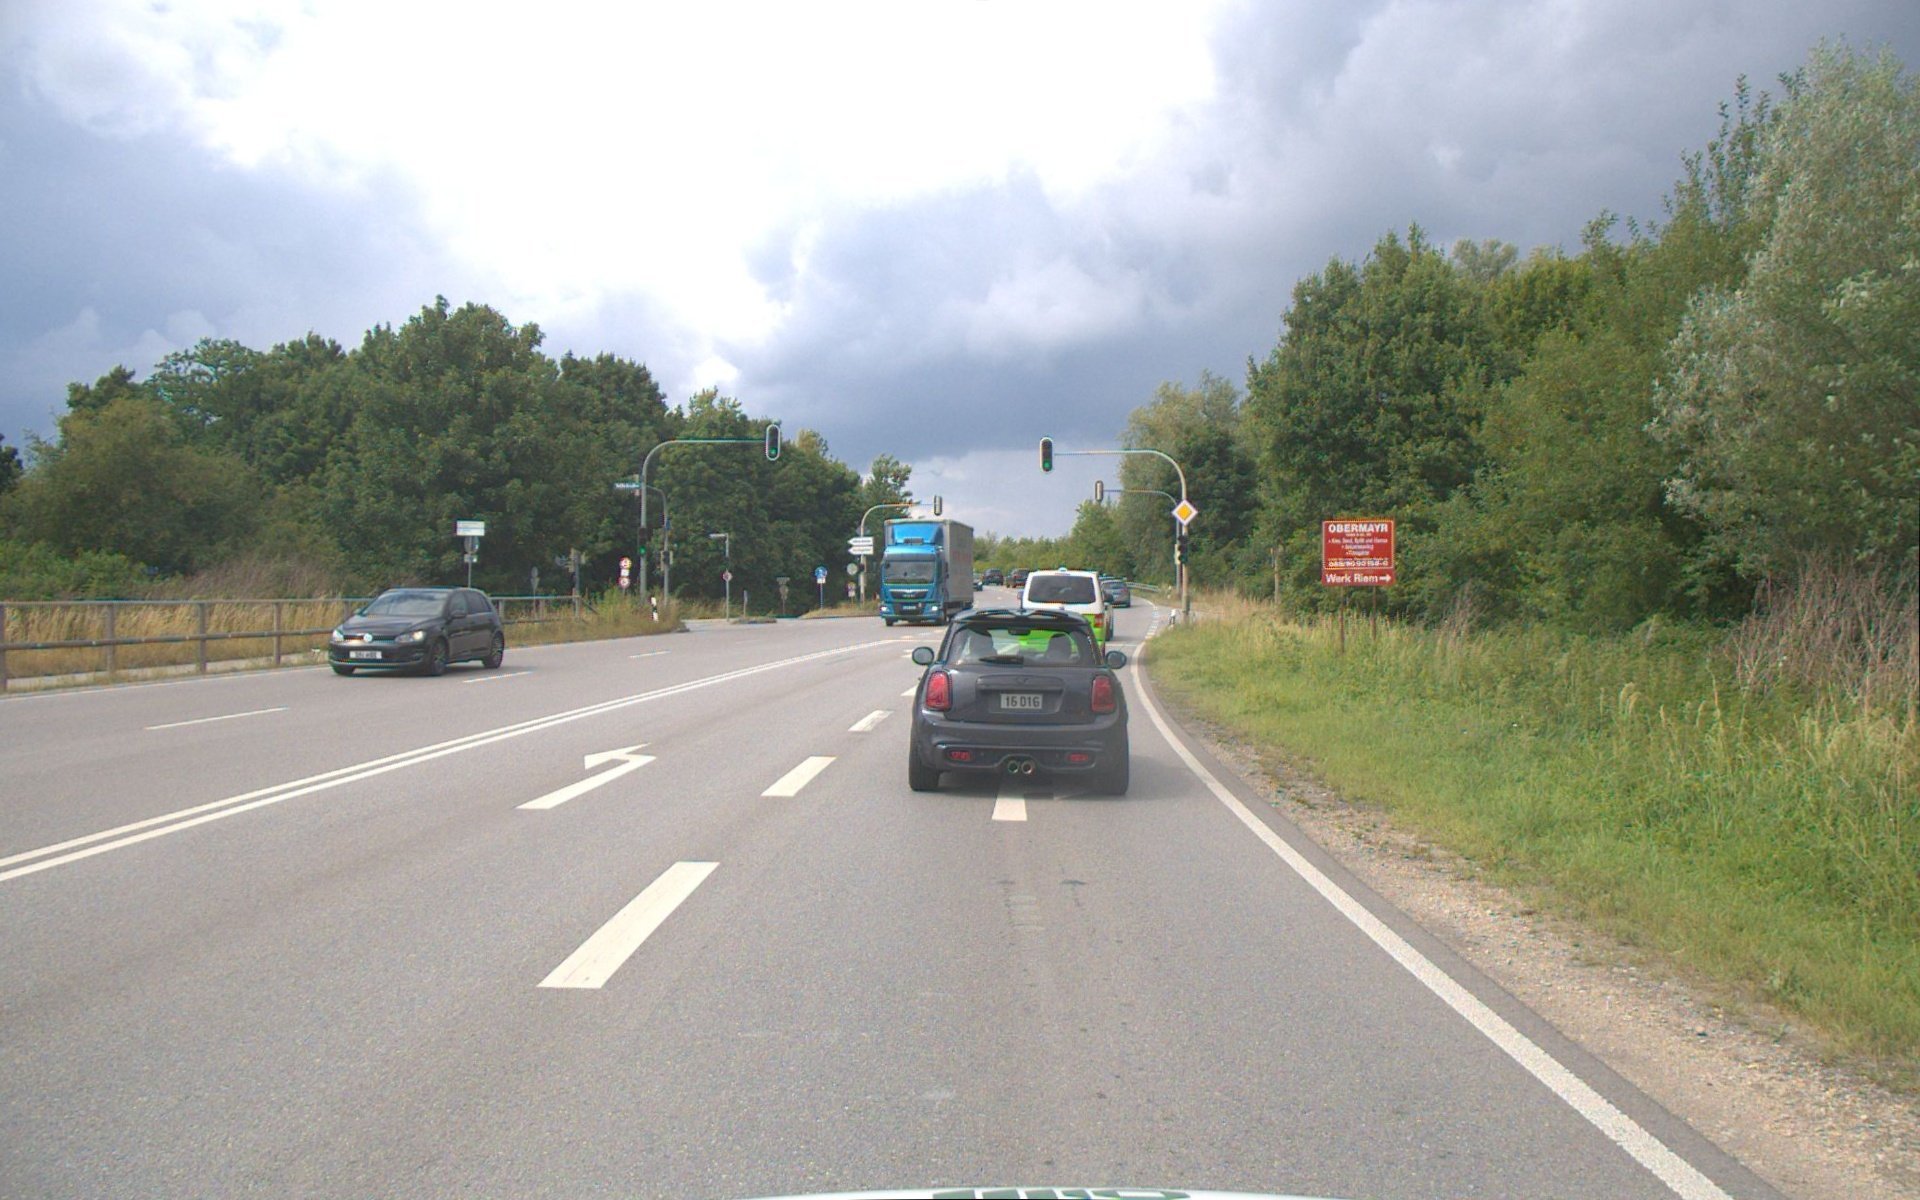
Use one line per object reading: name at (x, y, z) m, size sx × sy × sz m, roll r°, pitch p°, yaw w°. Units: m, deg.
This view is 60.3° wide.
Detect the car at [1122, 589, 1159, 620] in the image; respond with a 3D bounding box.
car at (10.836, 0.295, 99.134) m, size 1.951 × 1.713 × 3.980 m, roll 1°, pitch -1°, yaw 10°

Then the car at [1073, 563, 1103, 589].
car at (9.481, -1.750, 122.903) m, size 1.952 × 1.713 × 4.000 m, roll 1°, pitch -1°, yaw 1°

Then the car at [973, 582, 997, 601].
car at (2.240, -0.785, 149.026) m, size 1.750 × 1.556 × 4.907 m, roll -2°, pitch 0°, yaw 5°

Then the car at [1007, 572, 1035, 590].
car at (5.852, -1.795, 158.296) m, size 1.956 × 1.725 × 4.478 m, roll 0°, pitch 0°, yaw -7°

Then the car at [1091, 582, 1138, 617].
car at (8.138, 0.002, 86.989) m, size 1.951 × 1.713 × 4.003 m, roll 1°, pitch -1°, yaw 12°

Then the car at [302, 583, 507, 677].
car at (-9.275, 0.462, 27.970) m, size 1.905 × 1.466 × 4.002 m, roll 0°, pitch 0°, yaw 4°

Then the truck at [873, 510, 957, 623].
truck at (-1.682, -1.260, 63.290) m, size 2.485 × 4.168 × 4.003 m, roll 0°, pitch 0°, yaw 9°

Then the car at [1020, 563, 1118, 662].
car at (2.445, 0.260, 36.260) m, size 1.805 × 2.022 × 3.844 m, roll 1°, pitch 0°, yaw 9°

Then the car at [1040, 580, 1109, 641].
car at (3.370, 0.308, 48.884) m, size 1.952 × 1.713 × 4.002 m, roll 0°, pitch 0°, yaw 3°

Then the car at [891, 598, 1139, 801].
car at (0.463, 0.731, 14.121) m, size 1.806 × 1.453 × 3.842 m, roll 1°, pitch 0°, yaw 2°

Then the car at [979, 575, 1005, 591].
car at (3.406, -1.807, 174.906) m, size 1.957 × 1.725 × 4.476 m, roll 0°, pitch 0°, yaw -9°

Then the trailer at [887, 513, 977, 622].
trailer at (-1.068, -1.265, 67.033) m, size 2.473 × 4.172 × 6.741 m, roll 0°, pitch 0°, yaw 9°
